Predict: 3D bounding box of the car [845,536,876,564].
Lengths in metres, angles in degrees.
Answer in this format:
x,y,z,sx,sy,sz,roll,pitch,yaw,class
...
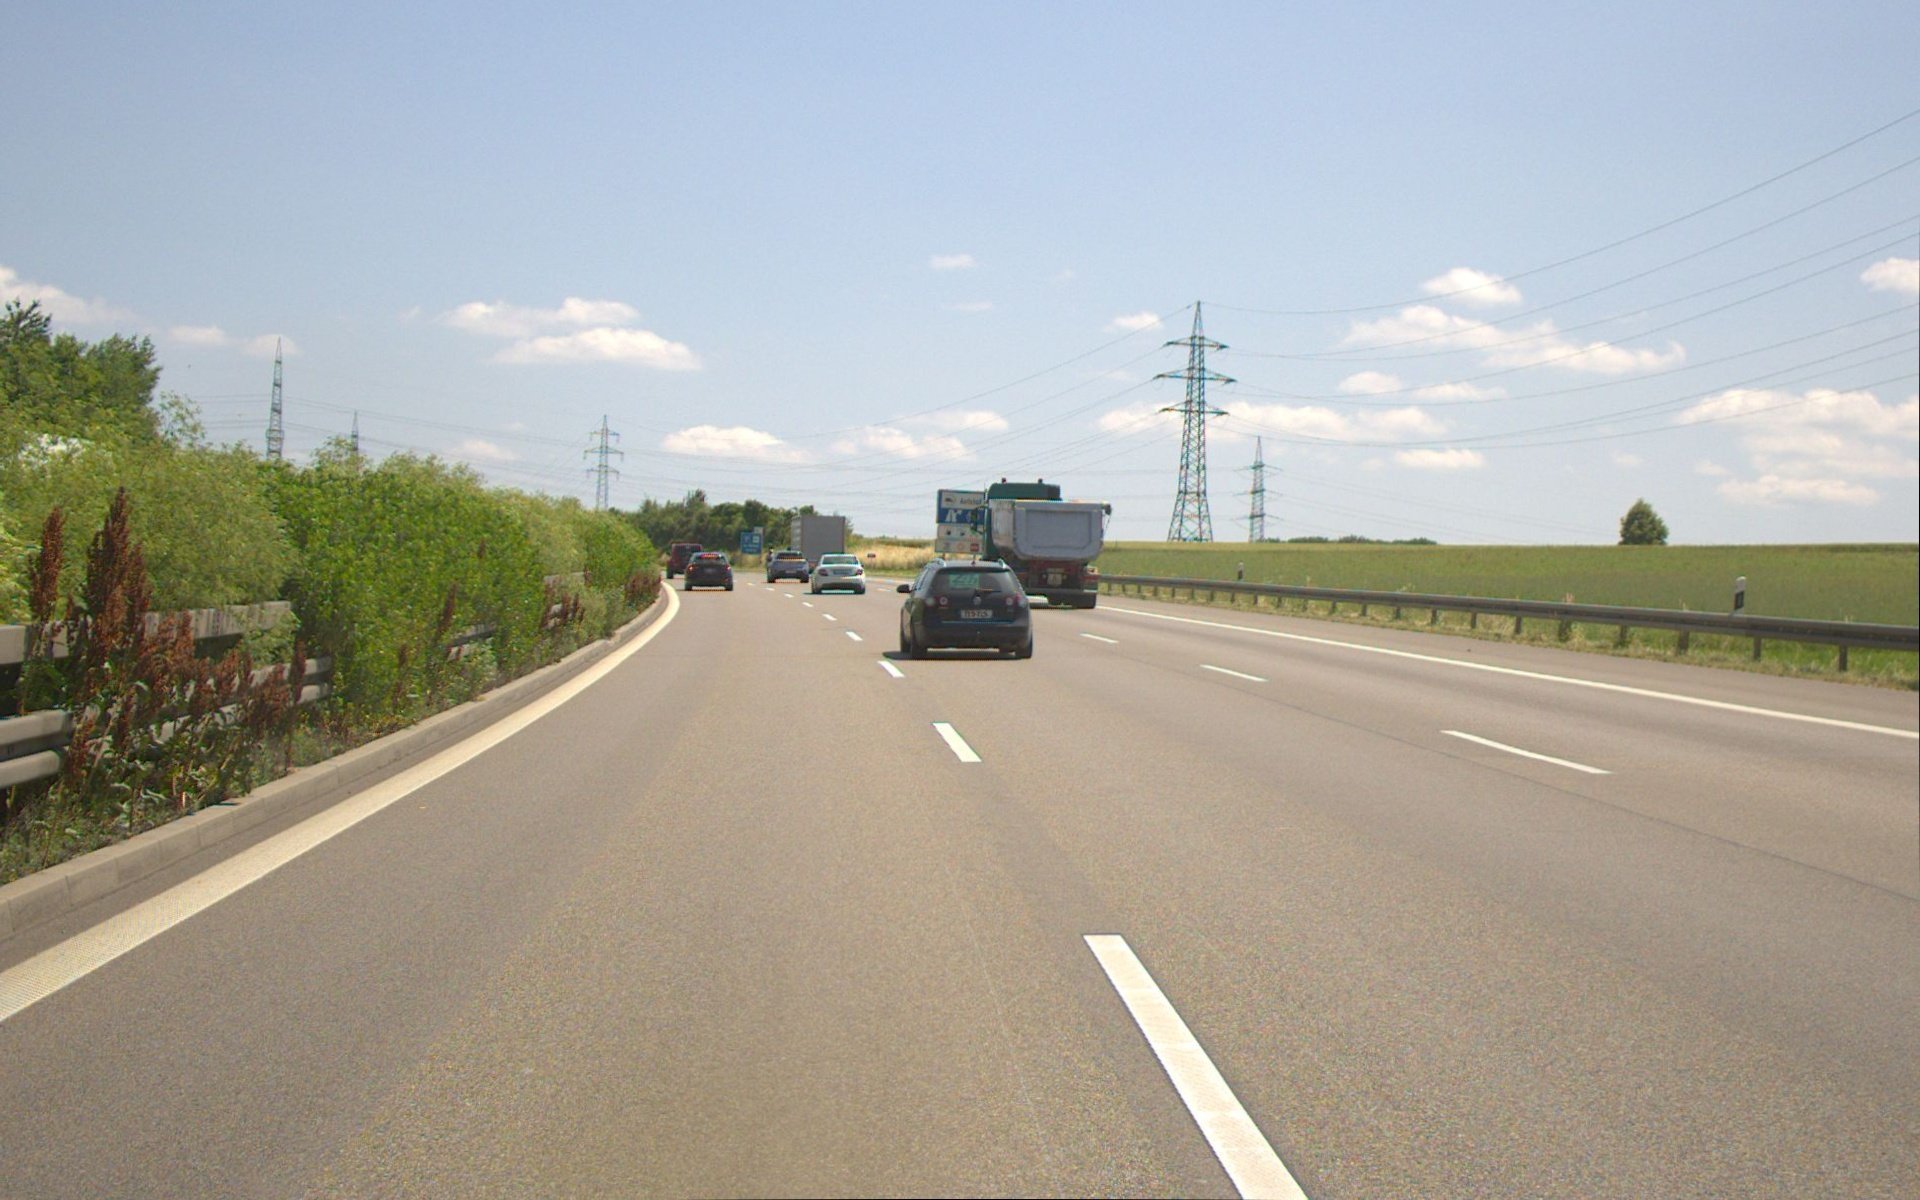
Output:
x,y,z,sx,sy,sz,roll,pitch,yaw,class
-6.727,-3.390,231.793,1.993,1.846,4.001,0,1,-3,car

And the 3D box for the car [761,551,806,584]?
x,y,z,sx,sy,sz,roll,pitch,yaw,class
-8.289,-1.518,161.503,1.838,1.535,3.915,0,1,-7,car

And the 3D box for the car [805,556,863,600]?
x,y,z,sx,sy,sz,roll,pitch,yaw,class
-4.503,-0.788,122.301,1.819,1.535,3.915,0,1,-5,car

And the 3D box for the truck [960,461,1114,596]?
x,y,z,sx,sy,sz,roll,pitch,yaw,class
2.145,-2.055,101.721,2.864,3.711,12.766,0,1,-6,truck

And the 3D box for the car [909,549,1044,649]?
x,y,z,sx,sy,sz,roll,pitch,yaw,class
0.210,-0.038,51.661,1.756,1.424,4.001,0,1,-3,car

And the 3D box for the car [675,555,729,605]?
x,y,z,sx,sy,sz,roll,pitch,yaw,class
-9.816,-0.775,130.842,1.993,1.853,4.001,1,1,-4,car

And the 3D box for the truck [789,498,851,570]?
x,y,z,sx,sy,sz,roll,pitch,yaw,class
-8.119,-3.776,198.427,3.220,3.911,9.062,1,0,-4,truck

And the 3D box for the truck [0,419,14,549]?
x,y,z,sx,sy,sz,roll,pitch,yaw,class
-21.485,-2.434,71.222,2.688,2.739,4.646,0,1,-3,truck

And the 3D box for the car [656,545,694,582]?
x,y,z,sx,sy,sz,roll,pitch,yaw,class
-14.803,-1.894,178.513,1.901,1.919,4.001,0,1,-5,car
